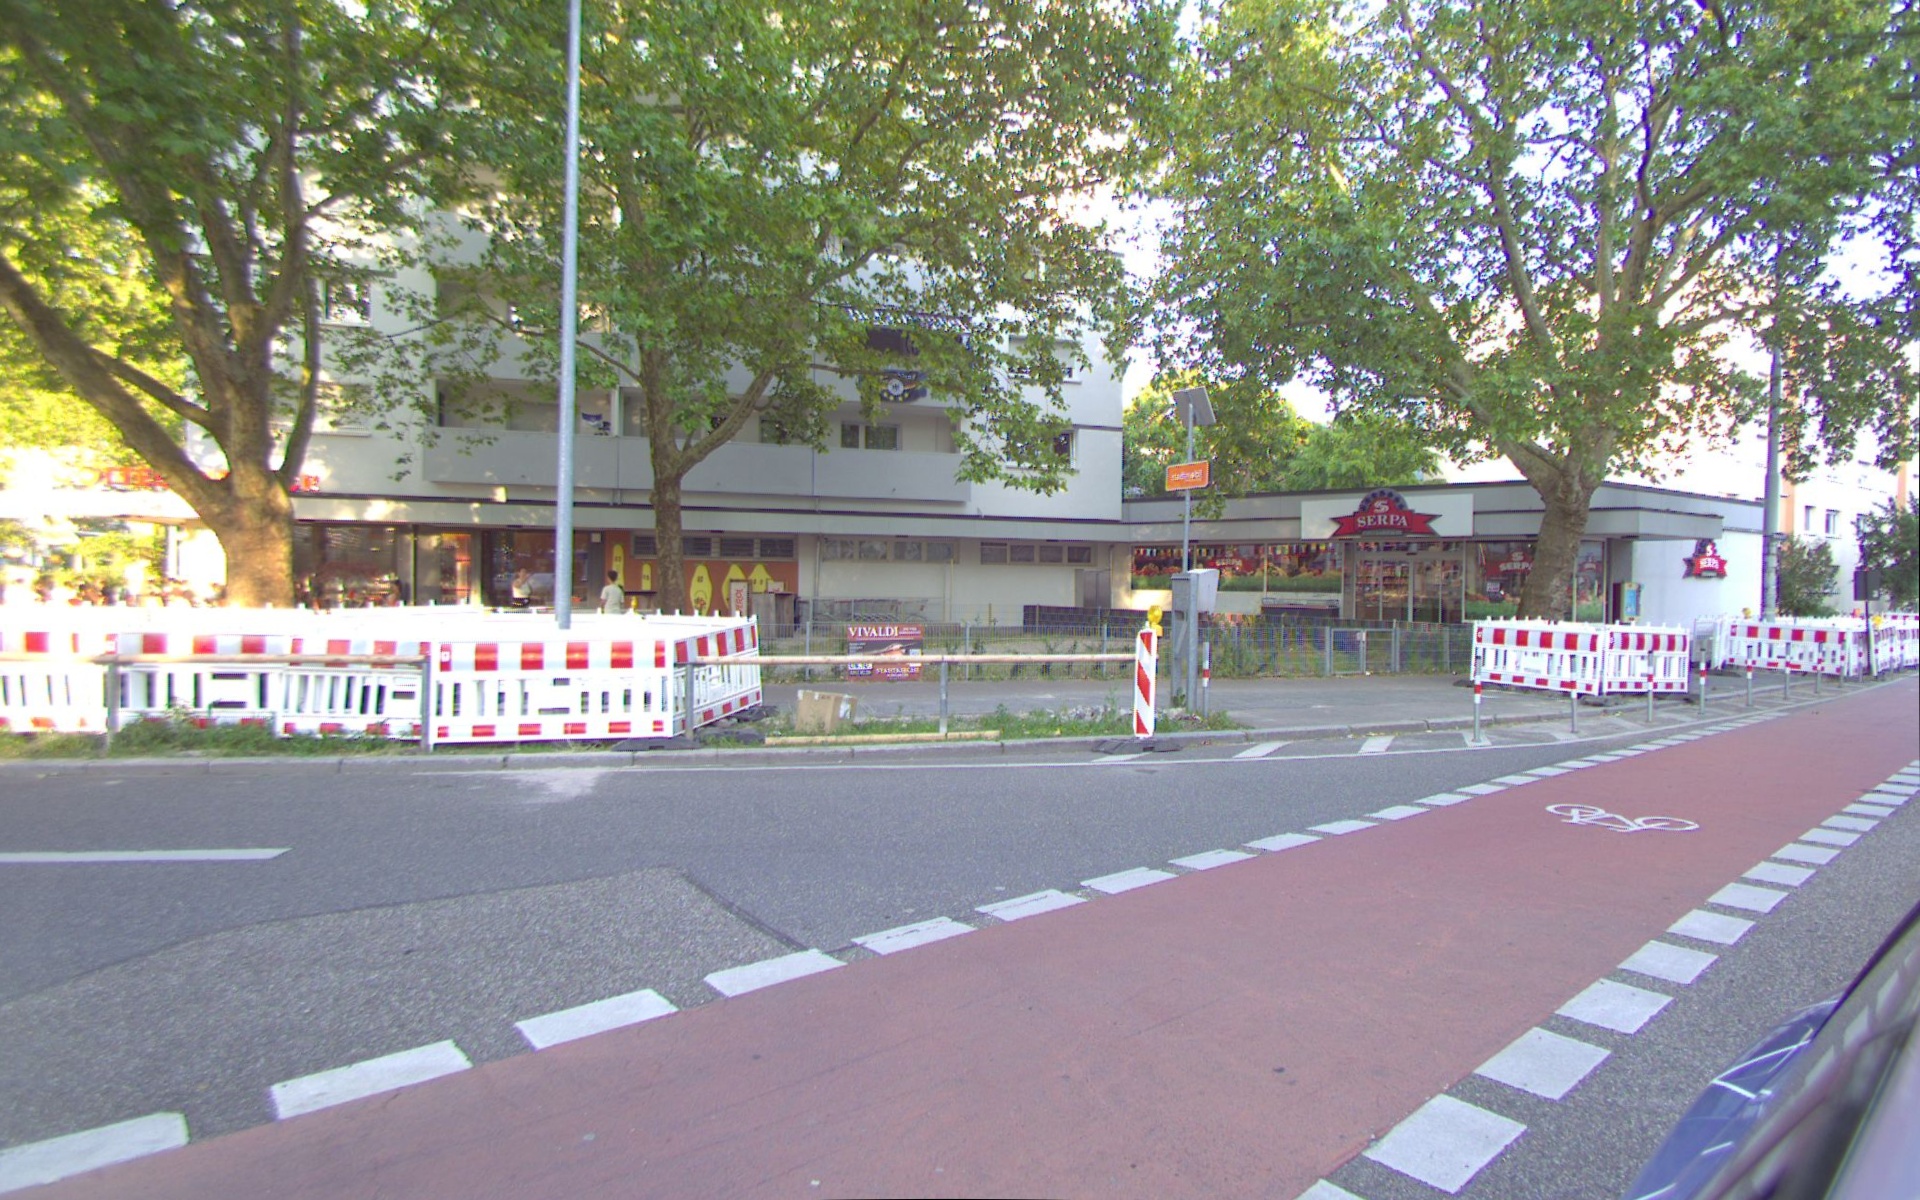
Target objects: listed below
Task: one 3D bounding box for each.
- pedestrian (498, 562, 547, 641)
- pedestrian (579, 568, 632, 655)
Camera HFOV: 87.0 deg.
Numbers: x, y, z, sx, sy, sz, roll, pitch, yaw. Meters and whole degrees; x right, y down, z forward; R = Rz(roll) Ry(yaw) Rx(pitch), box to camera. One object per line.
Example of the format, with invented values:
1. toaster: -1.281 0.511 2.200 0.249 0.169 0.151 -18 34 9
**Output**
1. pedestrian: -9.098 0.029 21.060 0.639 1.608 0.735 0 0 43
2. pedestrian: -6.762 0.210 19.283 0.639 1.608 0.735 0 0 43
